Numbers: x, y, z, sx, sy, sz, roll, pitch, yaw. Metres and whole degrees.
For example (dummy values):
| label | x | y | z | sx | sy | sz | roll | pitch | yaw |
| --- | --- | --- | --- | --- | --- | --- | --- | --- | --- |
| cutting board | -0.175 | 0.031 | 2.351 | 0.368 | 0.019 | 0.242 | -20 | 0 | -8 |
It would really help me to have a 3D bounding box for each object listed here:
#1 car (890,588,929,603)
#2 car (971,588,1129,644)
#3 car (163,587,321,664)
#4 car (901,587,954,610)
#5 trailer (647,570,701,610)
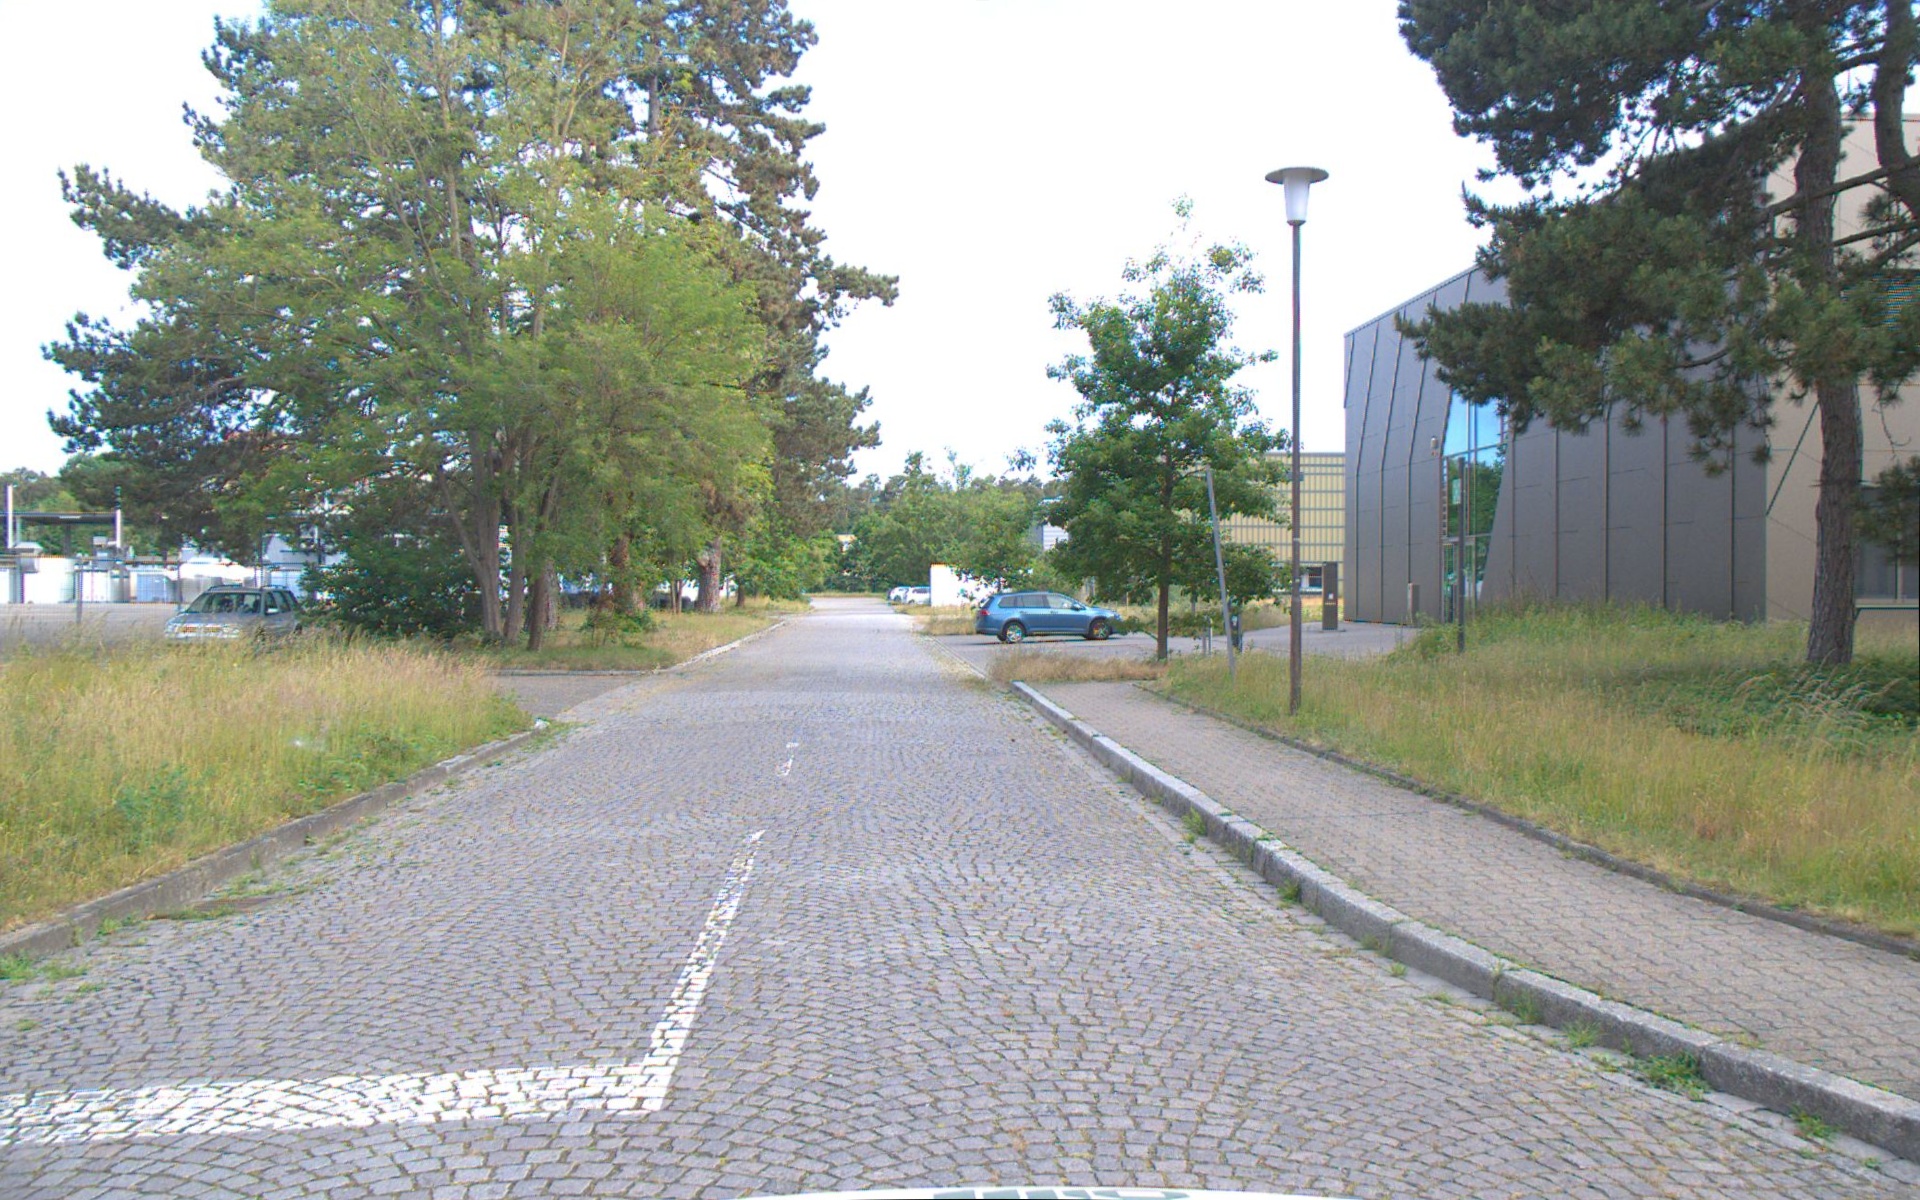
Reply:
| label | x | y | z | sx | sy | sz | roll | pitch | yaw |
| --- | --- | --- | --- | --- | --- | --- | --- | --- | --- |
| car | -5.153 | -0.482 | 168.773 | 3.945 | 1.528 | 1.547 | 0 | 0 | -3 |
| car | 2.668 | 0.451 | 49.415 | 4.436 | 1.468 | 1.821 | -2 | 1 | -7 |
| car | -14.519 | 0.462 | 33.706 | 1.682 | 1.463 | 4.461 | 0 | 0 | -6 |
| car | -2.433 | -0.085 | 122.733 | 3.776 | 1.683 | 1.684 | 0 | 0 | -7 |
| trailer | -23.128 | -0.838 | 133.974 | 3.095 | 3.121 | 8.781 | 0 | 0 | -2 |
